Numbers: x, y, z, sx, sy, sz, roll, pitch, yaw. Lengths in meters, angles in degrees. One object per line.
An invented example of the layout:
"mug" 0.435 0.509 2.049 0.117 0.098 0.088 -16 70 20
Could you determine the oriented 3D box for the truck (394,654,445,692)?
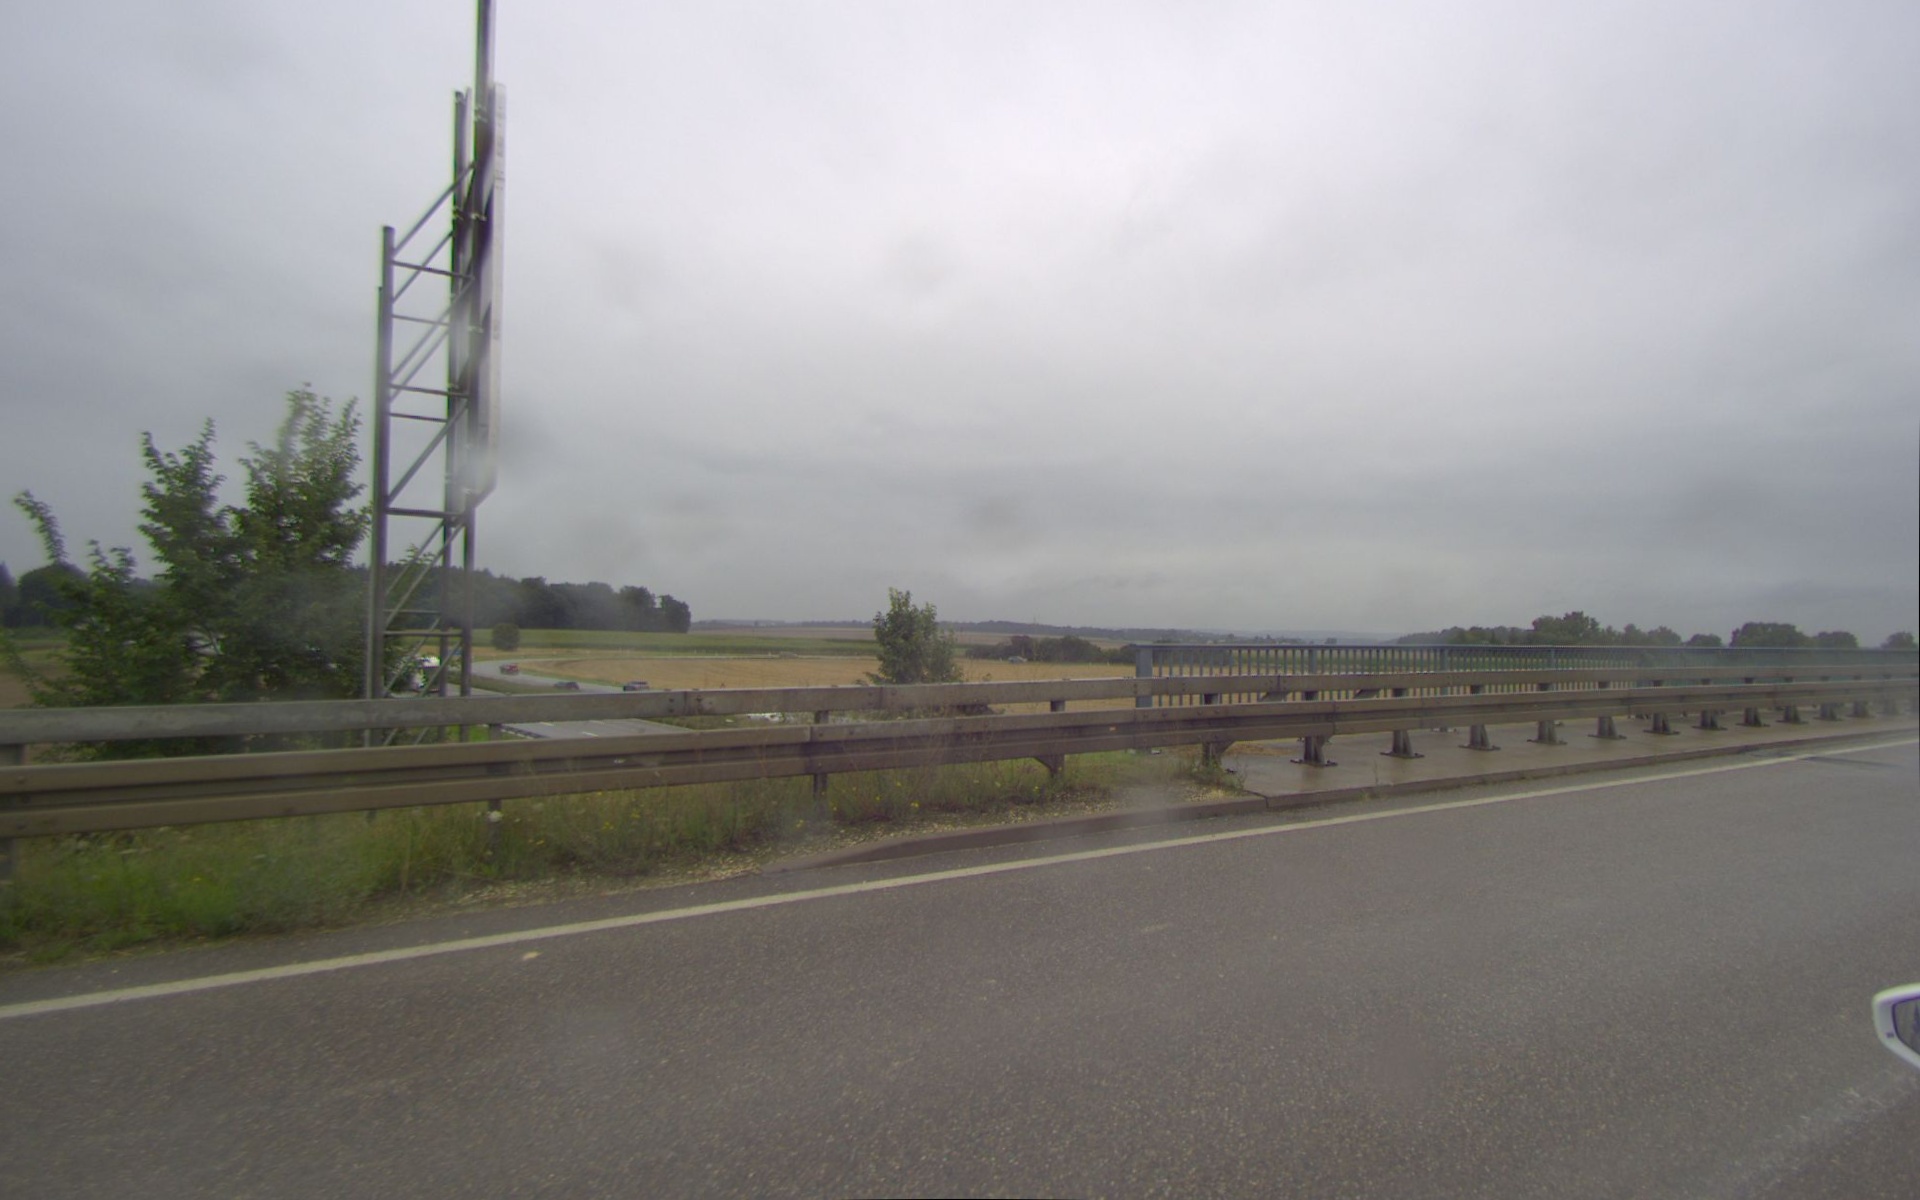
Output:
"truck" -64.084 8.553 118.987 2.766 3.920 10.512 3 -2 -42
